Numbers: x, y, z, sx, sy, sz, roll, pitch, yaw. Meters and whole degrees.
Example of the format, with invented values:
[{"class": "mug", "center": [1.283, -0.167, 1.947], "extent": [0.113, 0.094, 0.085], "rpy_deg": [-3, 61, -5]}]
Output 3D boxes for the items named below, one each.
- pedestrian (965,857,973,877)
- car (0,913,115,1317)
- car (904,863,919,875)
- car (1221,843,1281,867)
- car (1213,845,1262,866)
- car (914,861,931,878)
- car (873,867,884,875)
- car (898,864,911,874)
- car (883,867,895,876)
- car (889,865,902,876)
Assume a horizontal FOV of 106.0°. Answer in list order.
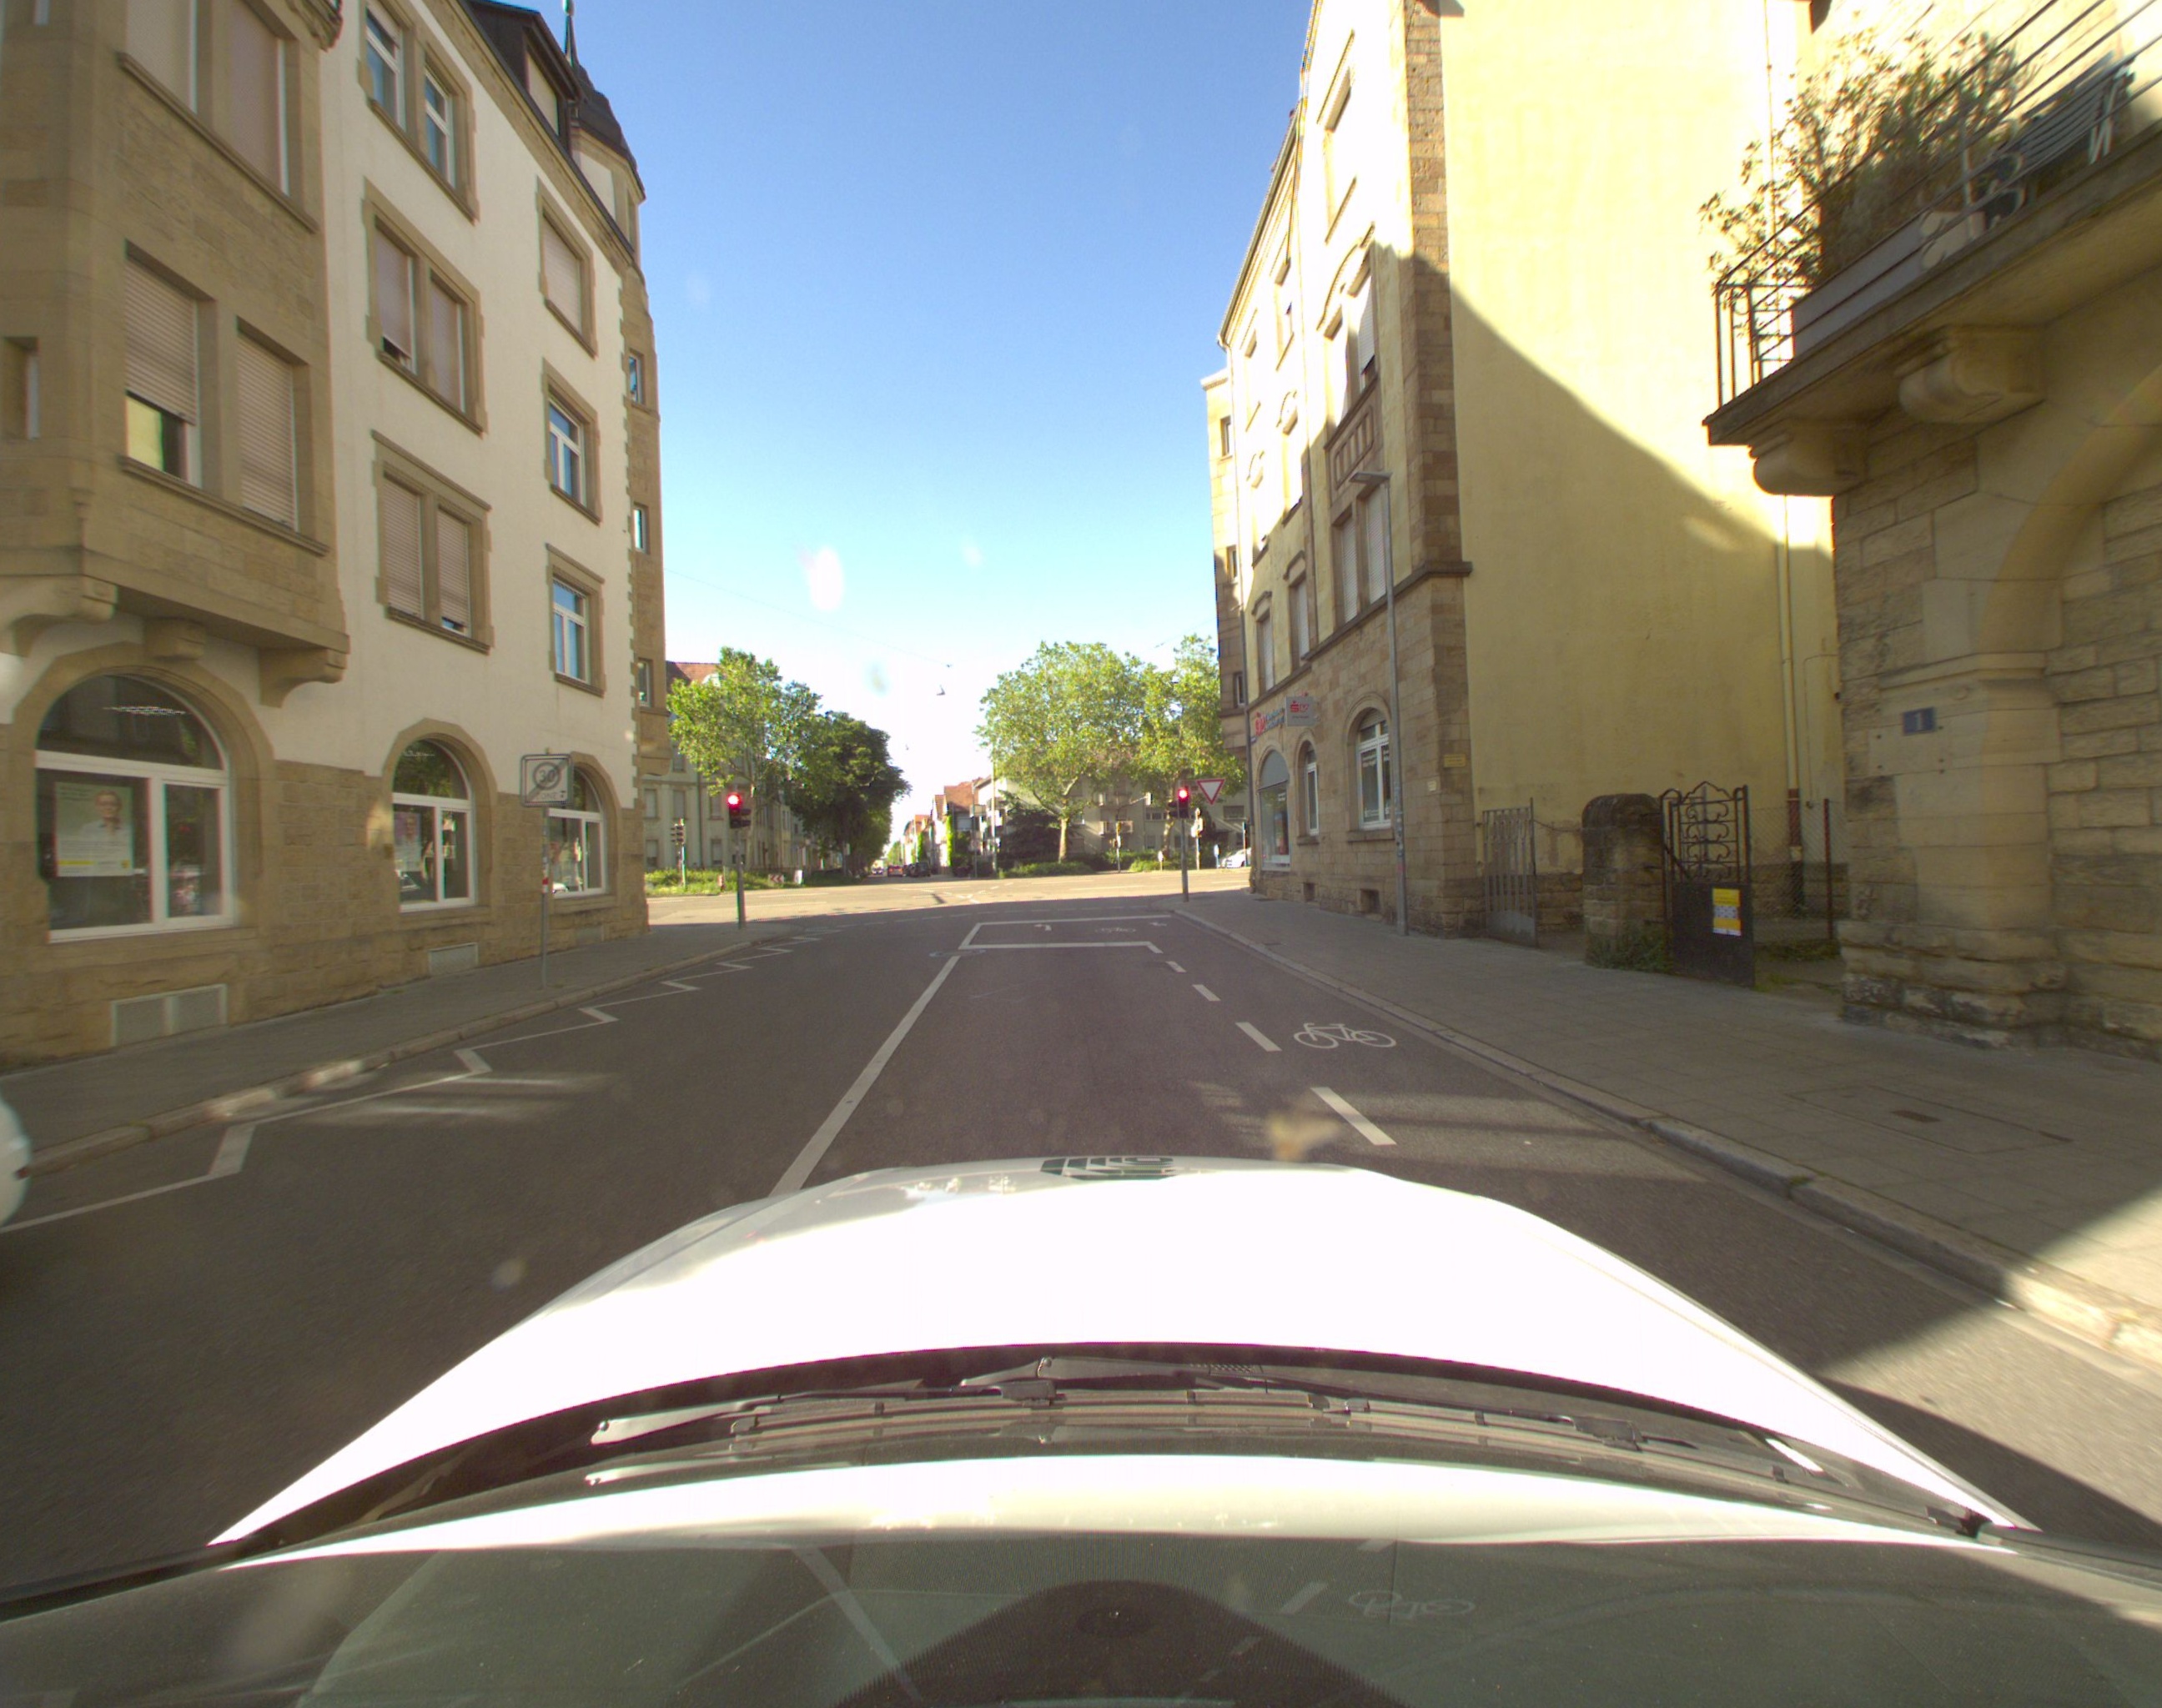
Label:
[{"class": "pedestrian", "center": [-9.539, 1.116, 69.449], "extent": [0.632, 1.750, 0.658], "rpy_deg": [-1, -1, -6]}, {"class": "car", "center": [-4.815, 1.008, 1.479], "extent": [1.629, 1.464, 3.733], "rpy_deg": [-2, 0, -1]}, {"class": "car", "center": [-27.802, 2.481, 133.874], "extent": [1.999, 1.832, 3.976], "rpy_deg": [-1, -1, -18]}, {"class": "car", "center": [11.853, 0.041, 56.714], "extent": [3.802, 1.472, 1.618], "rpy_deg": [-3, 0, -22]}, {"class": "car", "center": [12.206, 0.136, 63.525], "extent": [3.395, 1.487, 1.513], "rpy_deg": [-3, 0, -24]}, {"class": "car", "center": [-20.109, 1.978, 103.523], "extent": [1.995, 2.013, 3.984], "rpy_deg": [-3, 0, -11]}, {"class": "car", "center": [-40.553, 3.362, 163.155], "extent": [1.998, 1.445, 3.978], "rpy_deg": [-3, 0, -16]}, {"class": "car", "center": [-33.383, 2.757, 153.855], "extent": [1.999, 1.832, 3.976], "rpy_deg": [-1, -1, -18]}, {"class": "car", "center": [-31.478, 2.803, 133.754], "extent": [1.741, 1.336, 3.814], "rpy_deg": [-2, 0, -15]}, {"class": "car", "center": [-26.040, 2.301, 114.226], "extent": [1.676, 1.483, 3.505], "rpy_deg": [-1, -1, -13]}]
